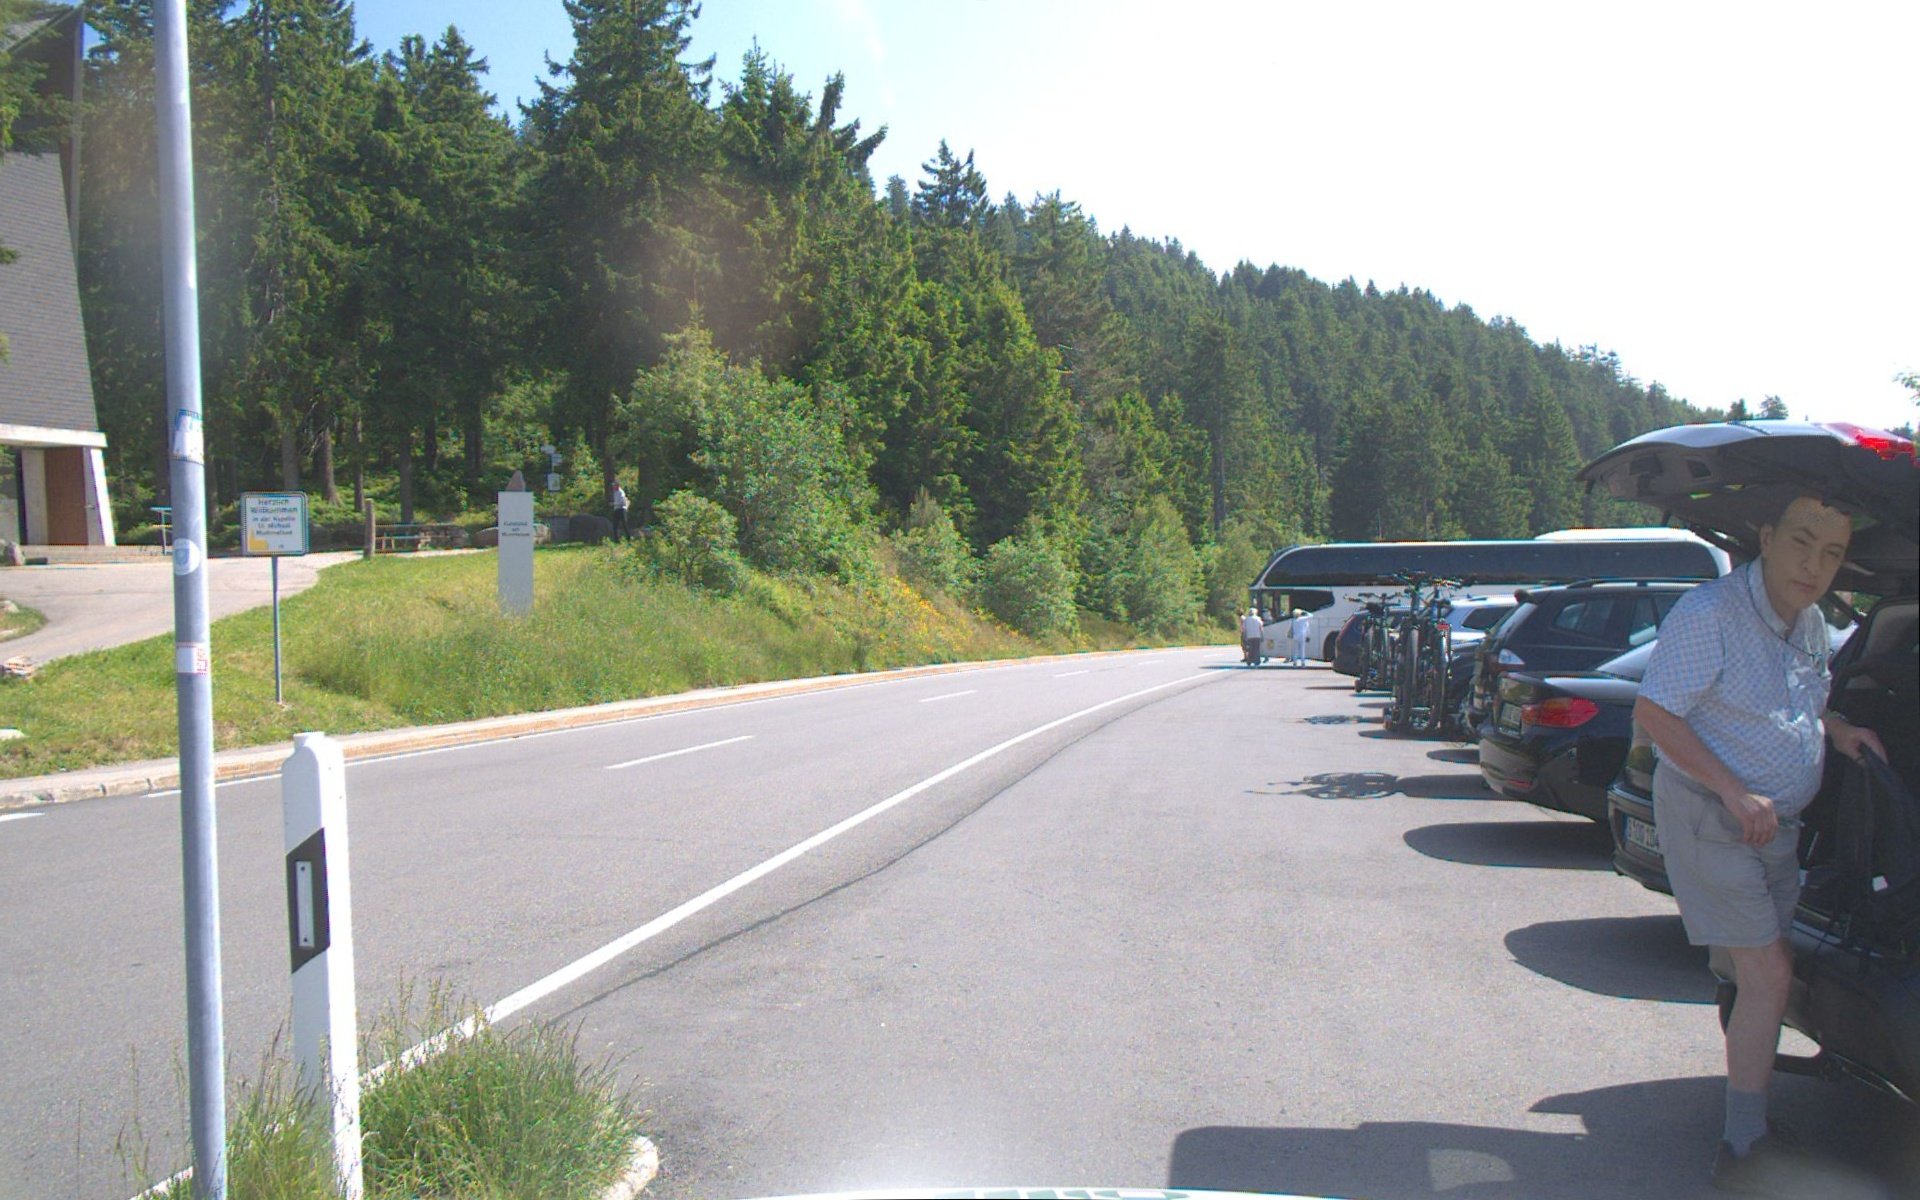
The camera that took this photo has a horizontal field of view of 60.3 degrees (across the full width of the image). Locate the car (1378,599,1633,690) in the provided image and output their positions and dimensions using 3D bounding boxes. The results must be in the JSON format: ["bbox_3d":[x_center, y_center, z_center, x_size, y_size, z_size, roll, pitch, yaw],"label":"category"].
[{"bbox_3d":[9.172,0.748,28.099,3.902,1.423,1.621,-2,-1,11],"label":"car"}]

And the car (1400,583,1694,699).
[{"bbox_3d":[8.690,0.605,24.782,3.902,1.581,1.661,-2,-1,11],"label":"car"}]

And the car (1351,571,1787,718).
[{"bbox_3d":[7.581,0.564,21.133,4.926,1.680,2.049,-2,-1,11],"label":"car"}]

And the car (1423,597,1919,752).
[{"bbox_3d":[6.609,0.684,15.606,4.153,1.291,1.840,-2,-1,11],"label":"car"}]

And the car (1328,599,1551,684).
[{"bbox_3d":[9.078,0.781,31.605,3.902,1.474,1.863,-2,-1,11],"label":"car"}]

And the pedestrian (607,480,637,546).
[{"bbox_3d":[-10.079,-2.595,49.319,0.666,1.910,0.542,-2,-1,6],"label":"pedestrian"}]

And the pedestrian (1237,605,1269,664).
[{"bbox_3d":[8.157,0.967,46.023,0.754,1.613,0.773,-2,-1,18],"label":"pedestrian"}]

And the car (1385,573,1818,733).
[{"bbox_3d":[6.912,0.578,18.262,4.153,1.581,1.840,-2,-1,11],"label":"car"}]

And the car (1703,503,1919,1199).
[{"bbox_3d":[4.465,0.684,4.248,4.252,1.654,1.871,2,-1,6],"label":"car"}]

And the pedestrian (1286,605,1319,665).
[{"bbox_3d":[9.432,0.969,45.531,0.754,1.613,0.773,-2,-1,18],"label":"pedestrian"}]

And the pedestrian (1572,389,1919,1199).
[{"bbox_3d":[2.032,0.477,4.103,0.724,1.903,0.754,2,3,41],"label":"pedestrian"}]

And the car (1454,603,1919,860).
[{"bbox_3d":[5.265,0.762,10.163,3.995,1.400,1.703,1,0,5],"label":"car"}]

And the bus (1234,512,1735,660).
[{"bbox_3d":[14.350,-0.279,46.044,12.824,3.594,3.043,-2,-1,22],"label":"bus"}]

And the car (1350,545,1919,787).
[{"bbox_3d":[5.589,0.501,13.083,4.843,1.725,1.946,-1,0,13],"label":"car"}]

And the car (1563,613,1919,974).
[{"bbox_3d":[4.983,0.801,7.343,3.996,1.400,1.703,1,0,2],"label":"car"}]

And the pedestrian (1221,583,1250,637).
[{"bbox_3d":[8.950,0.327,53.791,0.835,1.713,0.870,-2,-1,7],"label":"pedestrian"}]
